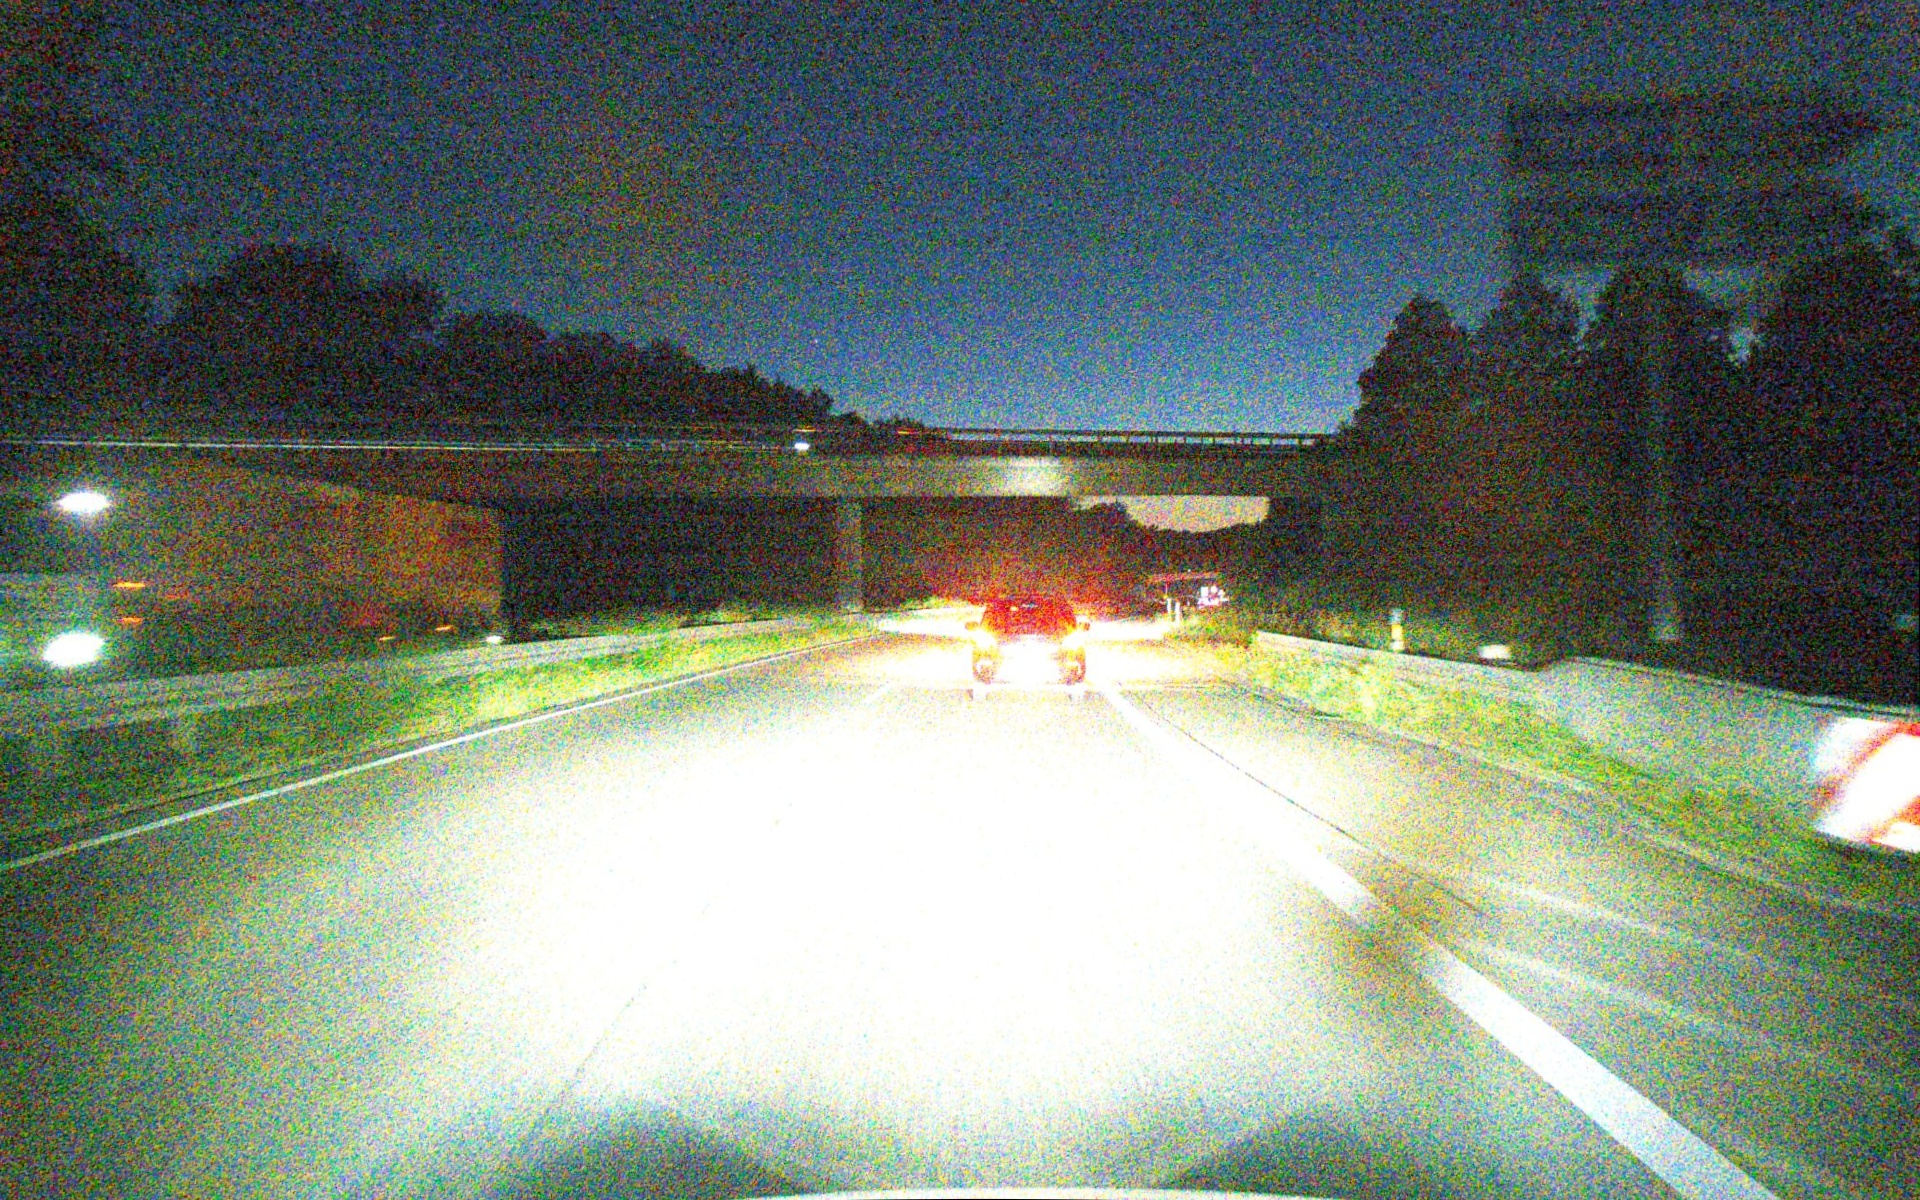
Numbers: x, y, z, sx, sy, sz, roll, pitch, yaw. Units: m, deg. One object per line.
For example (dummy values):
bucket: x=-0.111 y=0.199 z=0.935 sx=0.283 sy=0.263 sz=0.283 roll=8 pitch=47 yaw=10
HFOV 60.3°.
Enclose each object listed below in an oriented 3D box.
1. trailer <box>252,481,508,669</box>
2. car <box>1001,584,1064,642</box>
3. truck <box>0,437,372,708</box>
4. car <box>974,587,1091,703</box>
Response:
trailer: x=-13.800 y=-0.573 z=40.326 sx=2.661 sy=4.025 sz=9.050 roll=-1 pitch=0 yaw=2
car: x=2.243 y=0.379 z=51.497 sx=1.867 sy=1.728 sz=4.001 roll=-1 pitch=1 yaw=2
truck: x=-14.311 y=-0.454 z=30.555 sx=2.625 sy=4.115 sz=10.657 roll=-1 pitch=0 yaw=2
car: x=0.998 y=0.599 z=24.297 sx=1.555 sy=1.534 sz=4.000 roll=1 pitch=0 yaw=1
